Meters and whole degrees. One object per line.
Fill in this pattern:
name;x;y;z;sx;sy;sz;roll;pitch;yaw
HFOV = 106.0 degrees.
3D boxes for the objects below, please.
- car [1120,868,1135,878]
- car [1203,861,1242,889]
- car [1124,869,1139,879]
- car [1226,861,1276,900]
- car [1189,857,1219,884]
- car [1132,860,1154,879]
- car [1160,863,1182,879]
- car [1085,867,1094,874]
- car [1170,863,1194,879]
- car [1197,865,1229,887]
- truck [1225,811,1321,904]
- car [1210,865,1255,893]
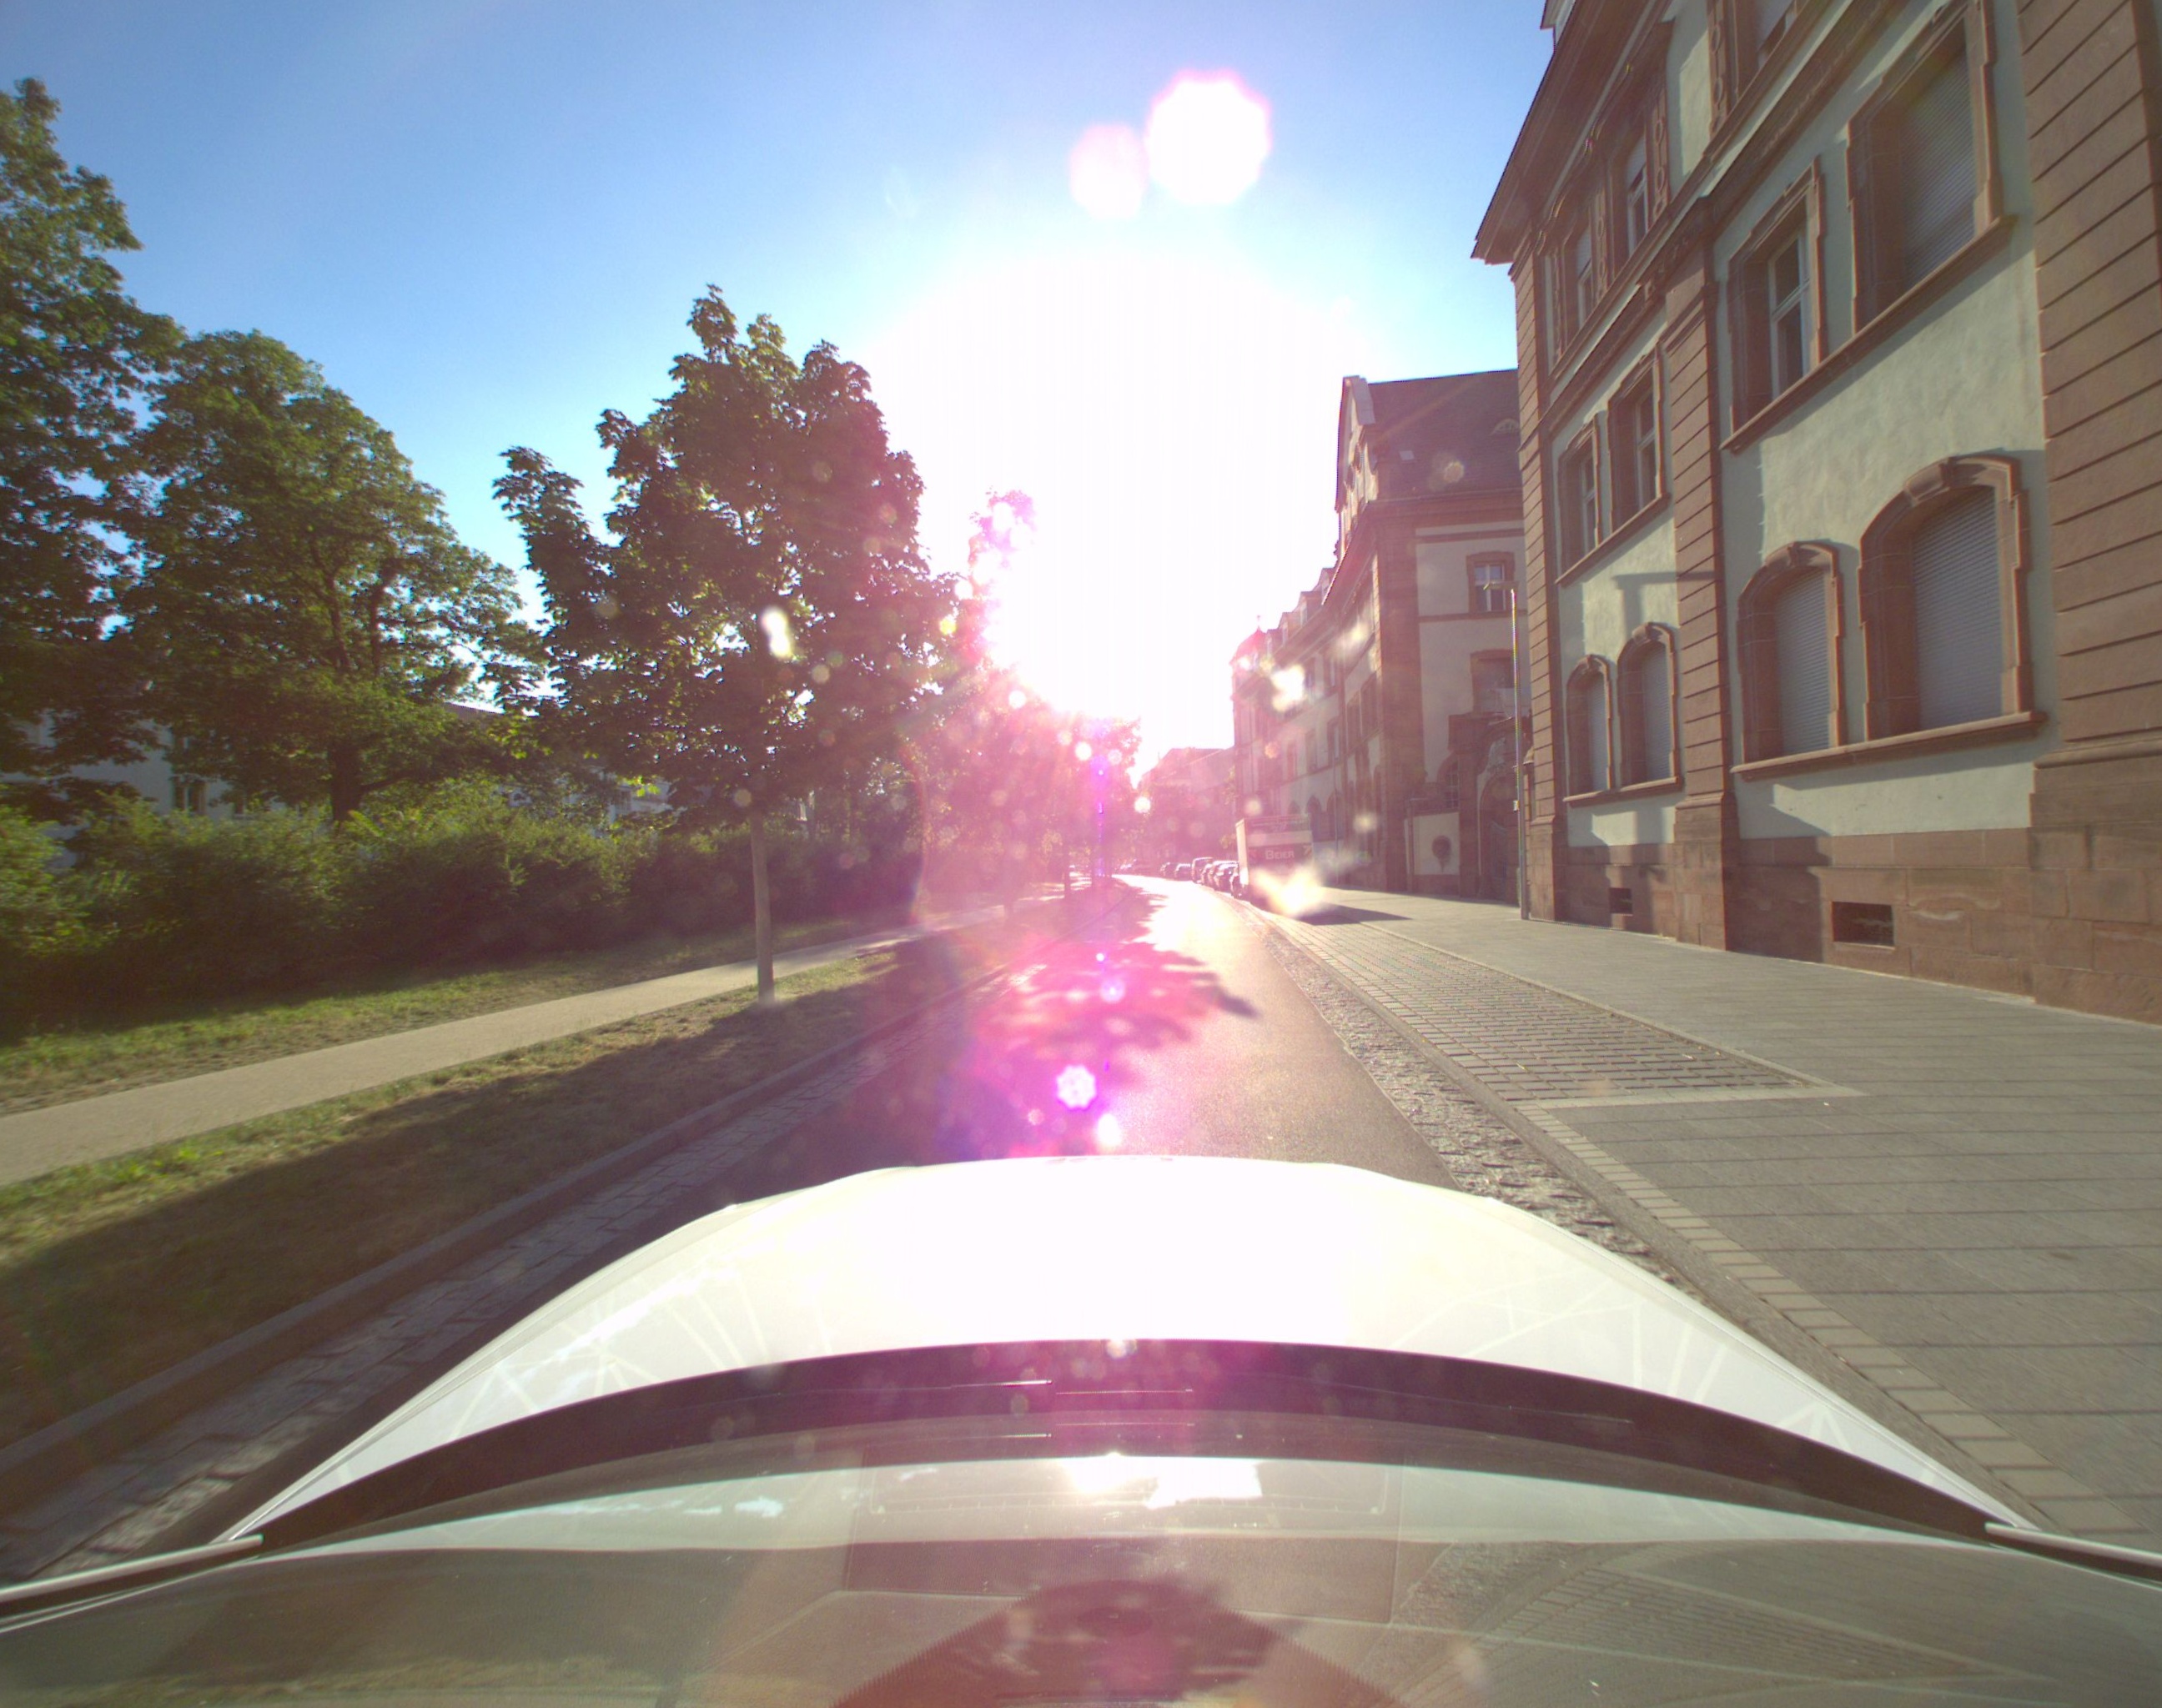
car;7.651;3.124;134.026;1.688;1.440;4.095;-2;-1;-6
car;8.846;1.295;51.134;1.809;1.602;4.194;-3;-1;2
car;8.005;3.182;129.375;1.688;1.440;3.543;-2;-1;-6
car;7.572;1.157;36.649;1.759;1.531;4.581;-3;-1;7
car;10.055;1.349;66.852;1.984;1.966;4.854;-5;-2;4
car;8.955;2.246;118.325;2.207;2.530;6.138;-3;-1;-4
car;9.790;1.862;89.071;1.720;1.669;4.110;-3;-1;-2
car;2.010;3.905;193.059;1.789;1.510;3.997;-1;-1;-1
car;9.763;1.668;78.845;1.742;1.466;4.475;-1;-1;-1
car;9.069;1.497;56.155;1.672;1.403;4.203;-3;-1;4
truck;7.094;0.160;30.905;2.611;3.121;6.096;-2;-1;5
car;8.404;1.366;45.562;1.864;1.436;4.525;-3;-1;3
